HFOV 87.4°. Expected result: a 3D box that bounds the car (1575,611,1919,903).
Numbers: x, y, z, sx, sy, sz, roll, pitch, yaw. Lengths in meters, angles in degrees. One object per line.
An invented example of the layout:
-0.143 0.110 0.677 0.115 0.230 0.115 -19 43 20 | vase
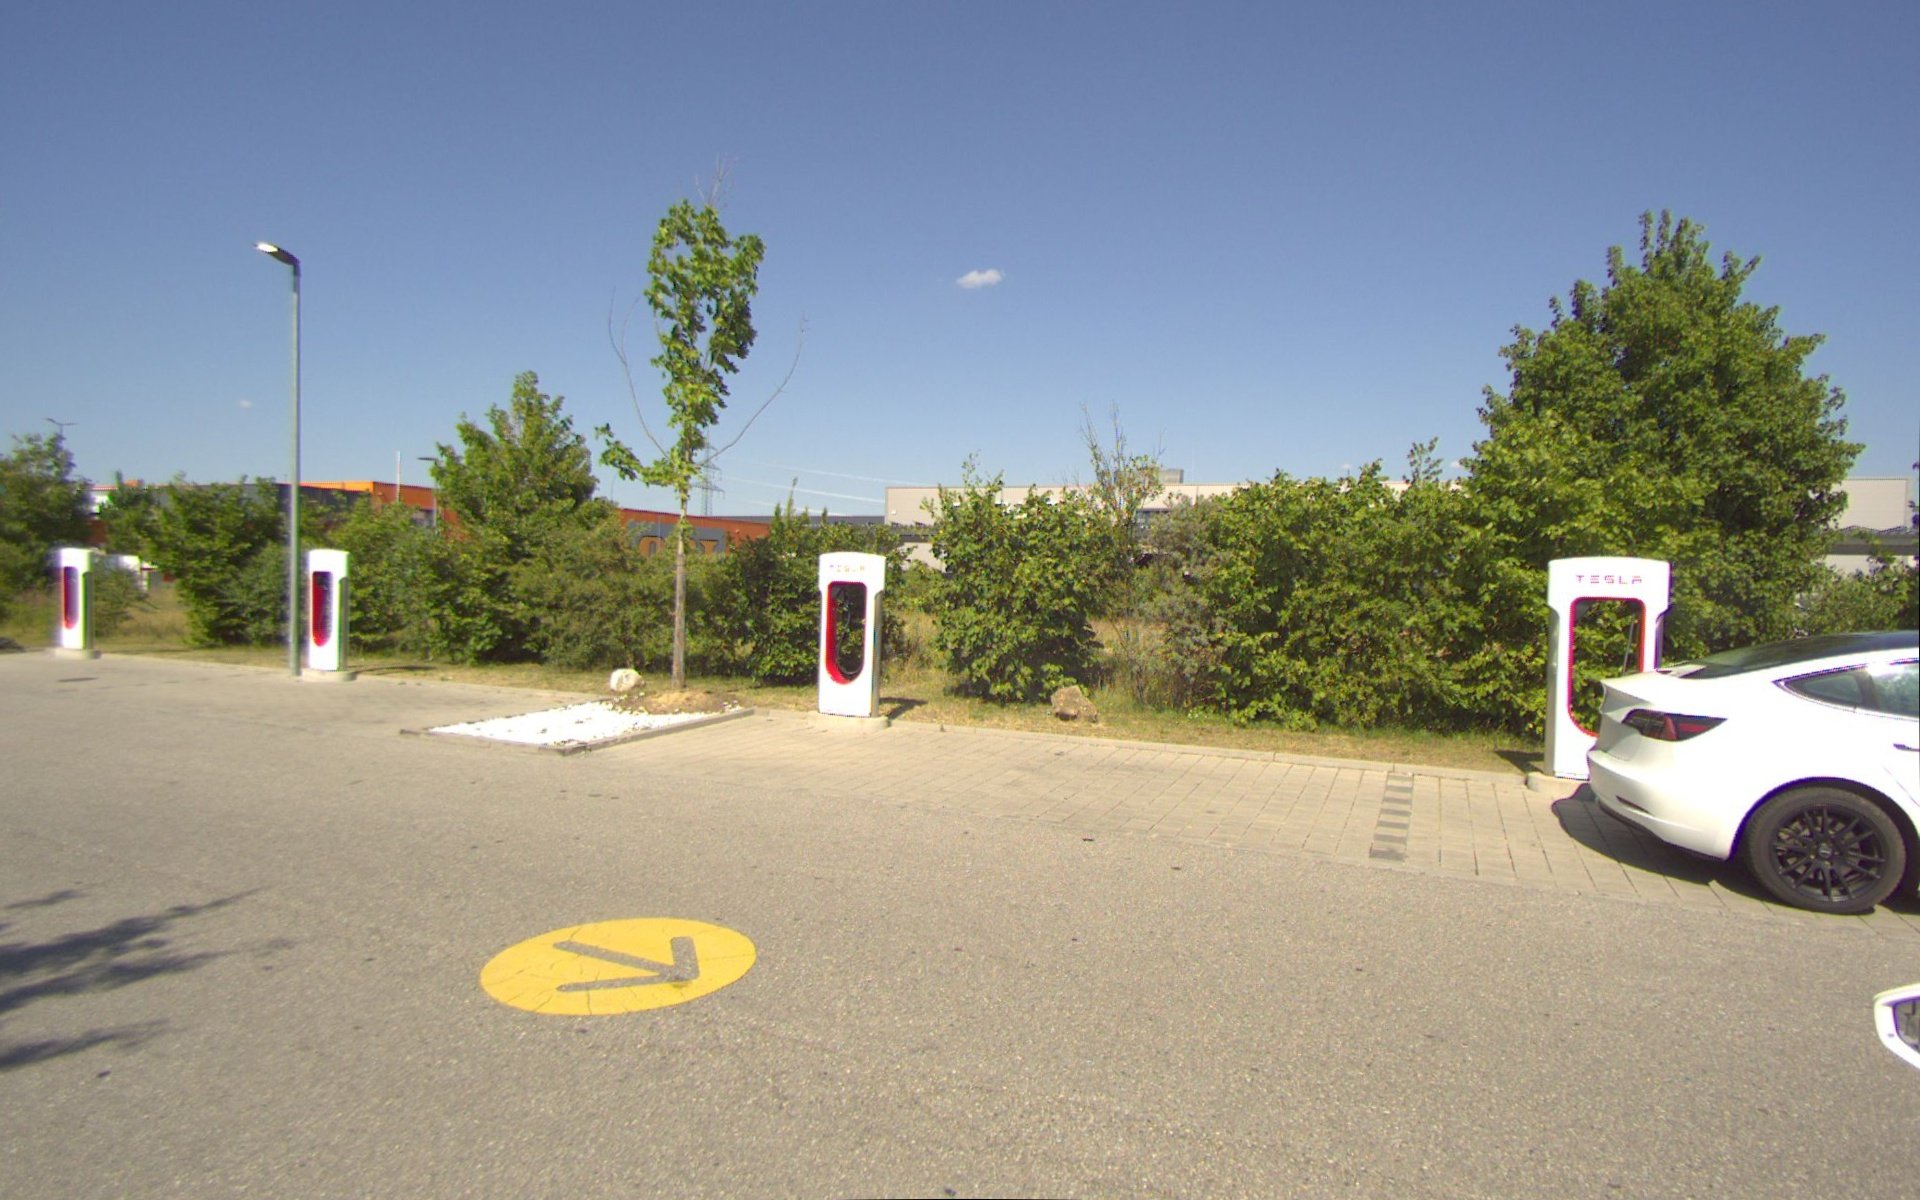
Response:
5.984 0.836 5.447 4.367 1.396 1.819 1 1 28 | car
